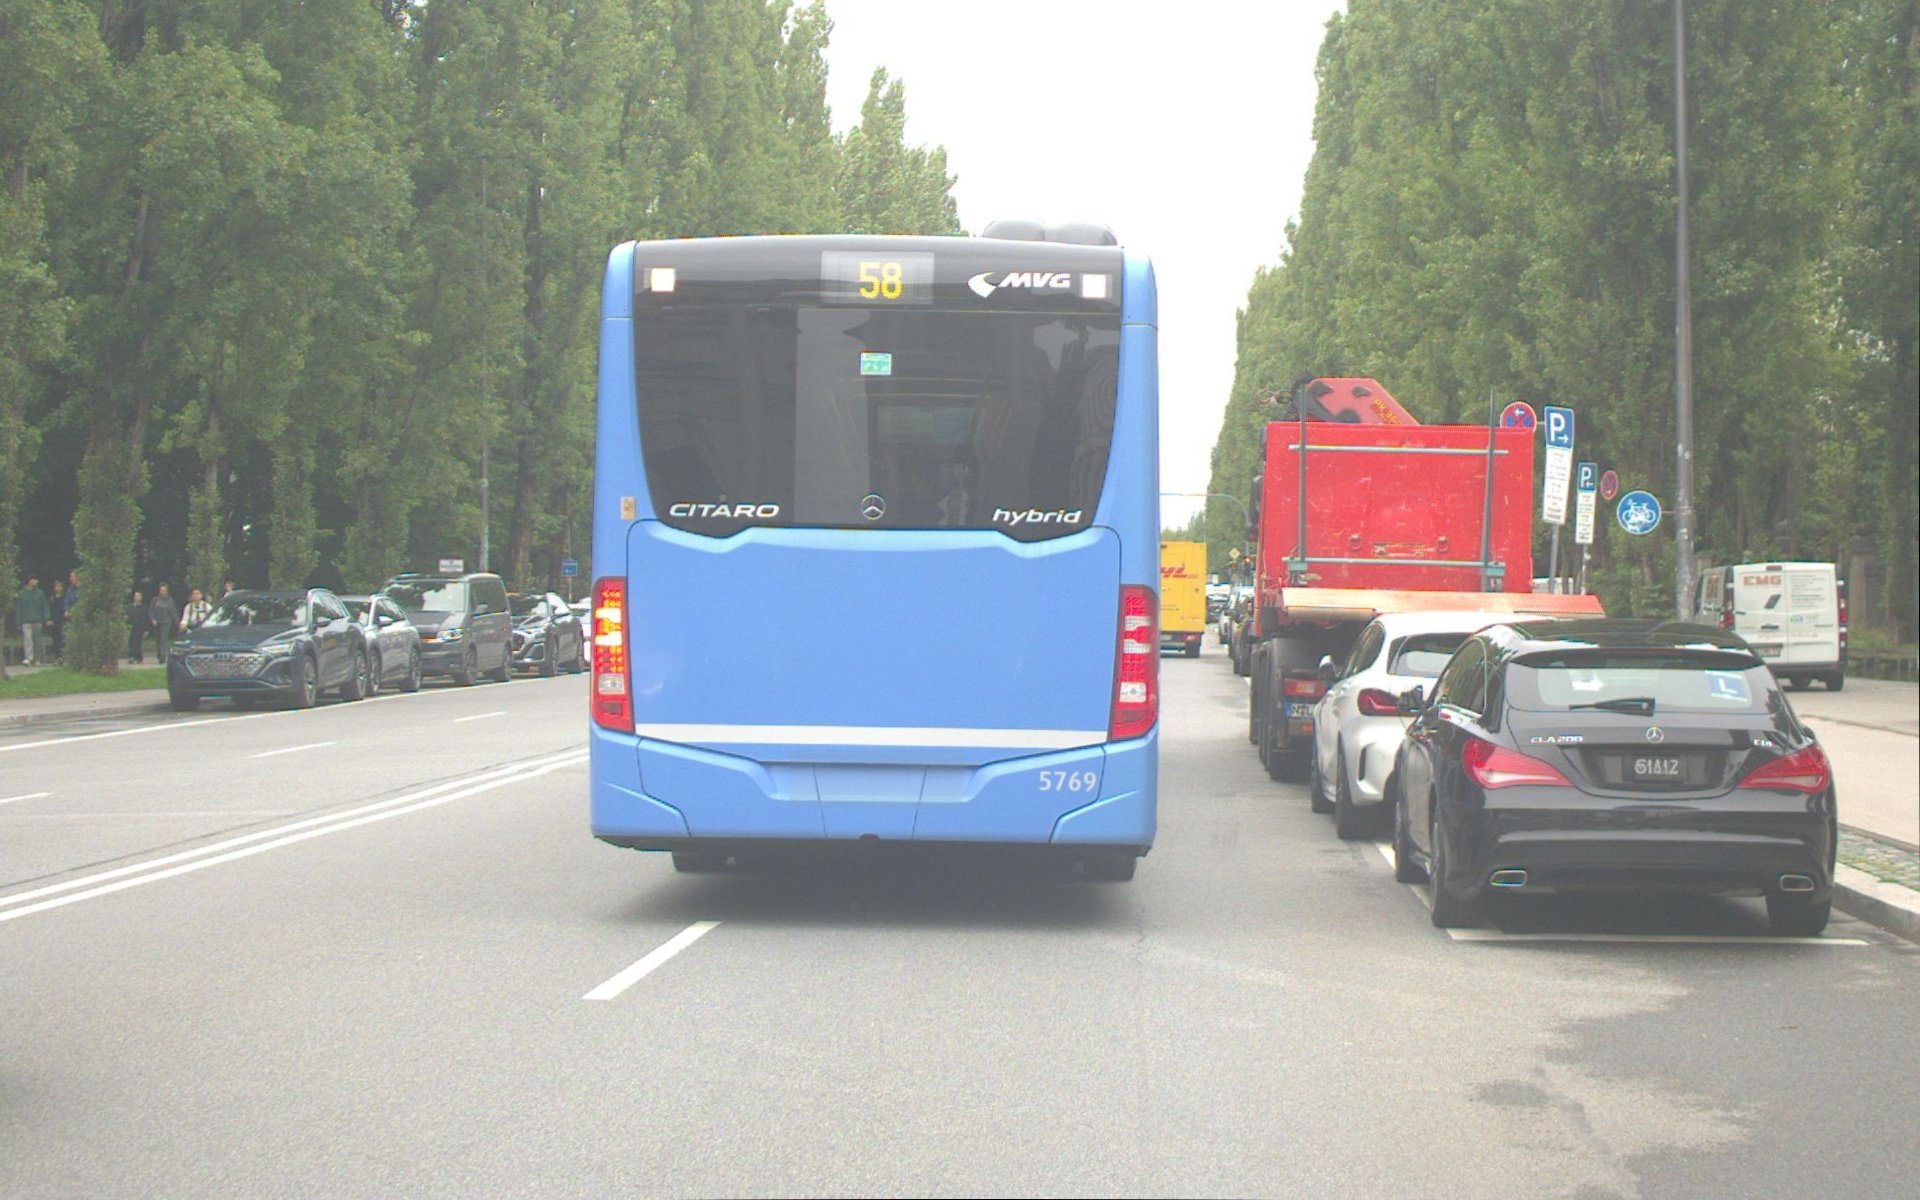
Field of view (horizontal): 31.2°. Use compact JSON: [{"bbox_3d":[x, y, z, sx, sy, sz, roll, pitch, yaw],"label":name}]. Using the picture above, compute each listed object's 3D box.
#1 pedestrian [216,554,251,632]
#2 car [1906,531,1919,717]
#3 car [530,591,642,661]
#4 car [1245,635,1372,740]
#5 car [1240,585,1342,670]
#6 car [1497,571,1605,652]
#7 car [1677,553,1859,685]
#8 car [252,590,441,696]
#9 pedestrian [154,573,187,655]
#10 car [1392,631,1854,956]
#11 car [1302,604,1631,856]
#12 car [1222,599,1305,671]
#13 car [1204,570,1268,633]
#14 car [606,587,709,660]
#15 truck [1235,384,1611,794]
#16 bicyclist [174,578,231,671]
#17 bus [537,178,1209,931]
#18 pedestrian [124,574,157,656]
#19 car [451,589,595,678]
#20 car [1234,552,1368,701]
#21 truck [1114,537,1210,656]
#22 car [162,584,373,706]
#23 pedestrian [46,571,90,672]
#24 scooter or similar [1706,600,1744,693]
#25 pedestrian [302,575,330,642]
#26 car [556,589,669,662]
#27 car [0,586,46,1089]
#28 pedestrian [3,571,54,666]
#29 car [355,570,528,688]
[{"bbox_3d":[-16.425,-0.151,77.745,0.608,1.751,0.757,0,0,3],"label":"pedestrian"},{"bbox_3d":[10.843,0.288,33.754,1.880,1.938,4.885,2,0,2],"label":"car"},{"bbox_3d":[-8.028,0.549,74.149,1.676,1.417,4.237,-1,0,3],"label":"car"},{"bbox_3d":[5.452,1.345,54.175,1.754,1.445,4.000,3,0,3],"label":"car"},{"bbox_3d":[6.491,0.519,67.750,1.821,1.585,4.222,1,0,3],"label":"car"},{"bbox_3d":[14.623,0.277,85.371,1.994,1.919,5.323,1,0,3],"label":"car"},{"bbox_3d":[12.537,0.279,53.660,1.994,1.939,5.082,0,0,4],"label":"car"},{"bbox_3d":[-9.673,0.649,54.543,1.891,1.579,4.654,-1,0,3],"label":"car"},{"bbox_3d":[-16.580,0.290,72.226,0.508,1.701,0.569,1,0,5],"label":"pedestrian"},{"bbox_3d":[3.083,0.837,16.767,1.735,1.306,4.369,0,0,5],"label":"car"},{"bbox_3d":[3.264,0.786,22.839,1.788,1.455,4.217,1,0,4],"label":"car"},{"bbox_3d":[7.196,0.811,81.803,1.781,1.576,4.146,2,0,3],"label":"car"},{"bbox_3d":[9.036,0.020,112.948,2.053,2.007,5.691,0,0,4],"label":"car"},{"bbox_3d":[-7.453,0.554,85.040,1.880,1.653,4.718,-2,0,2],"label":"car"},{"bbox_3d":[3.927,-0.109,31.308,2.714,3.099,10.425,0,0,4],"label":"truck"},{"bbox_3d":[-12.279,0.395,55.731,0.694,1.493,0.861,0,0,2],"label":"bicyclist"},{"bbox_3d":[-0.279,-0.223,19.342,2.856,3.202,9.059,1,0,1],"label":"bus"},{"bbox_3d":[-17.190,0.306,72.135,0.508,1.701,0.569,1,0,5],"label":"pedestrian"},{"bbox_3d":[-8.452,0.624,66.867,1.815,1.603,5.052,-2,0,3],"label":"car"},{"bbox_3d":[6.045,0.436,61.536,2.074,2.470,6.283,1,0,3],"label":"car"},{"bbox_3d":[5.122,-0.095,87.495,2.328,2.888,7.332,1,0,3],"label":"truck"},{"bbox_3d":[-9.785,0.606,48.918,1.782,1.590,4.613,-2,0,3],"label":"car"},{"bbox_3d":[-17.809,0.429,68.638,0.666,2.007,0.638,1,0,3],"label":"pedestrian"},{"bbox_3d":[10.473,0.626,47.094,0.336,1.261,1.185,0,0,4],"label":"scooter or similar"},{"bbox_3d":[-16.814,0.225,89.797,0.549,1.741,0.672,1,0,3],"label":"pedestrian"},{"bbox_3d":[-7.984,0.566,79.399,1.785,1.583,4.460,-2,0,4],"label":"car"},{"bbox_3d":[-3.843,0.664,8.001,1.826,1.449,4.581,1,0,5],"label":"car"},{"bbox_3d":[-18.447,0.361,68.112,0.747,1.848,0.757,1,0,5],"label":"pedestrian"},{"bbox_3d":[-9.101,0.471,60.736,1.994,1.950,4.936,-1,0,3],"label":"car"}]
